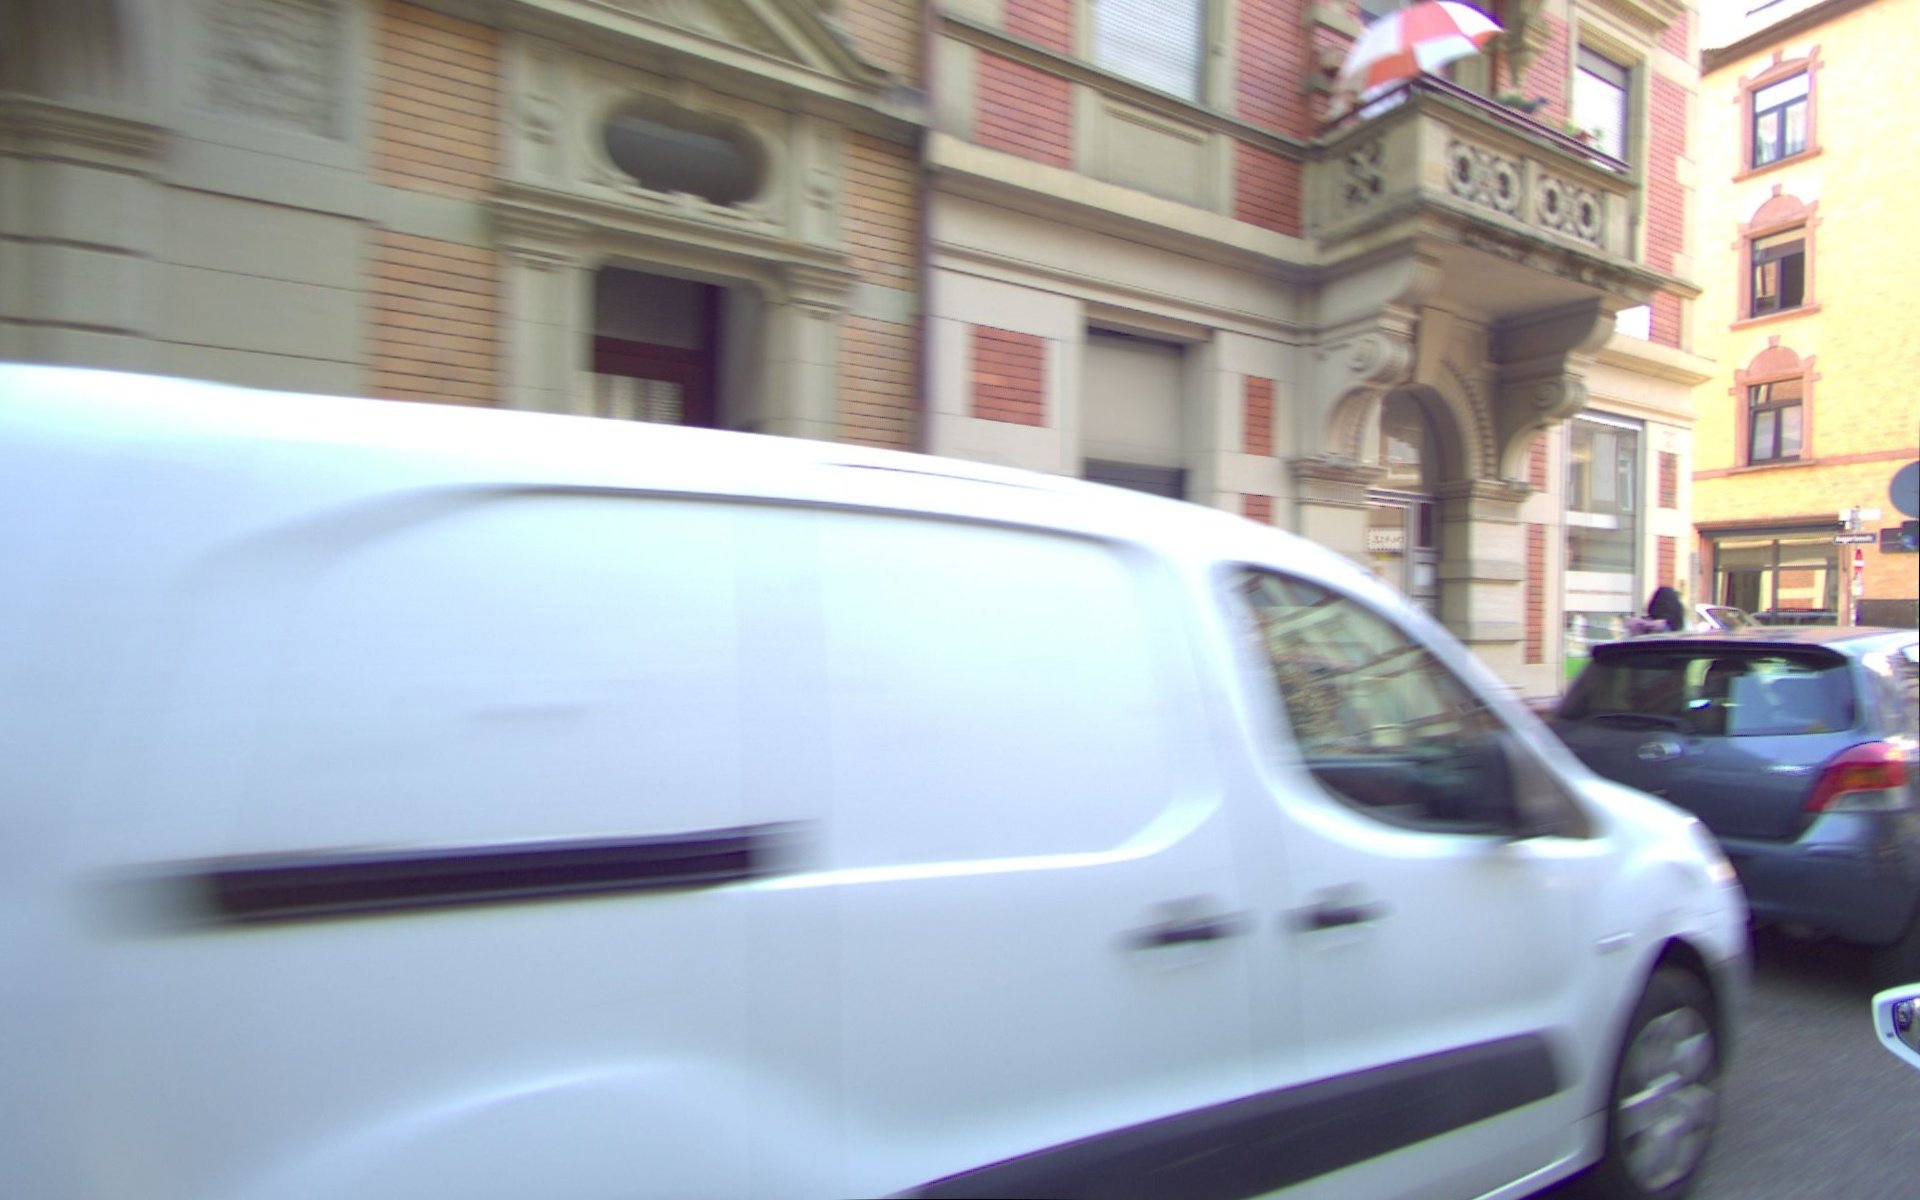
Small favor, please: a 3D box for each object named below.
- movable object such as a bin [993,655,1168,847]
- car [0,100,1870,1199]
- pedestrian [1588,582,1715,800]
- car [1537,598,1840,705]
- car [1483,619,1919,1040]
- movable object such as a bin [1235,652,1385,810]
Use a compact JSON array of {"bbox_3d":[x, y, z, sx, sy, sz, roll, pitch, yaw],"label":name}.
[{"bbox_3d":[0.746,0.898,6.275,0.846,1.055,0.634,1,2,-30],"label":"movable object such as a bin"},{"bbox_3d":[0.299,0.529,2.633,4.519,1.835,1.822,1,-2,-31],"label":"car"},{"bbox_3d":[5.578,0.713,8.104,0.709,1.666,0.545,3,-1,-30],"label":"pedestrian"},{"bbox_3d":[14.817,0.987,20.785,1.999,1.919,4.699,3,-2,-24],"label":"car"},{"bbox_3d":[4.719,0.879,5.293,3.927,1.500,1.684,1,-2,-31],"label":"car"},{"bbox_3d":[2.621,0.943,7.536,0.846,1.055,0.634,1,2,-30],"label":"movable object such as a bin"}]
